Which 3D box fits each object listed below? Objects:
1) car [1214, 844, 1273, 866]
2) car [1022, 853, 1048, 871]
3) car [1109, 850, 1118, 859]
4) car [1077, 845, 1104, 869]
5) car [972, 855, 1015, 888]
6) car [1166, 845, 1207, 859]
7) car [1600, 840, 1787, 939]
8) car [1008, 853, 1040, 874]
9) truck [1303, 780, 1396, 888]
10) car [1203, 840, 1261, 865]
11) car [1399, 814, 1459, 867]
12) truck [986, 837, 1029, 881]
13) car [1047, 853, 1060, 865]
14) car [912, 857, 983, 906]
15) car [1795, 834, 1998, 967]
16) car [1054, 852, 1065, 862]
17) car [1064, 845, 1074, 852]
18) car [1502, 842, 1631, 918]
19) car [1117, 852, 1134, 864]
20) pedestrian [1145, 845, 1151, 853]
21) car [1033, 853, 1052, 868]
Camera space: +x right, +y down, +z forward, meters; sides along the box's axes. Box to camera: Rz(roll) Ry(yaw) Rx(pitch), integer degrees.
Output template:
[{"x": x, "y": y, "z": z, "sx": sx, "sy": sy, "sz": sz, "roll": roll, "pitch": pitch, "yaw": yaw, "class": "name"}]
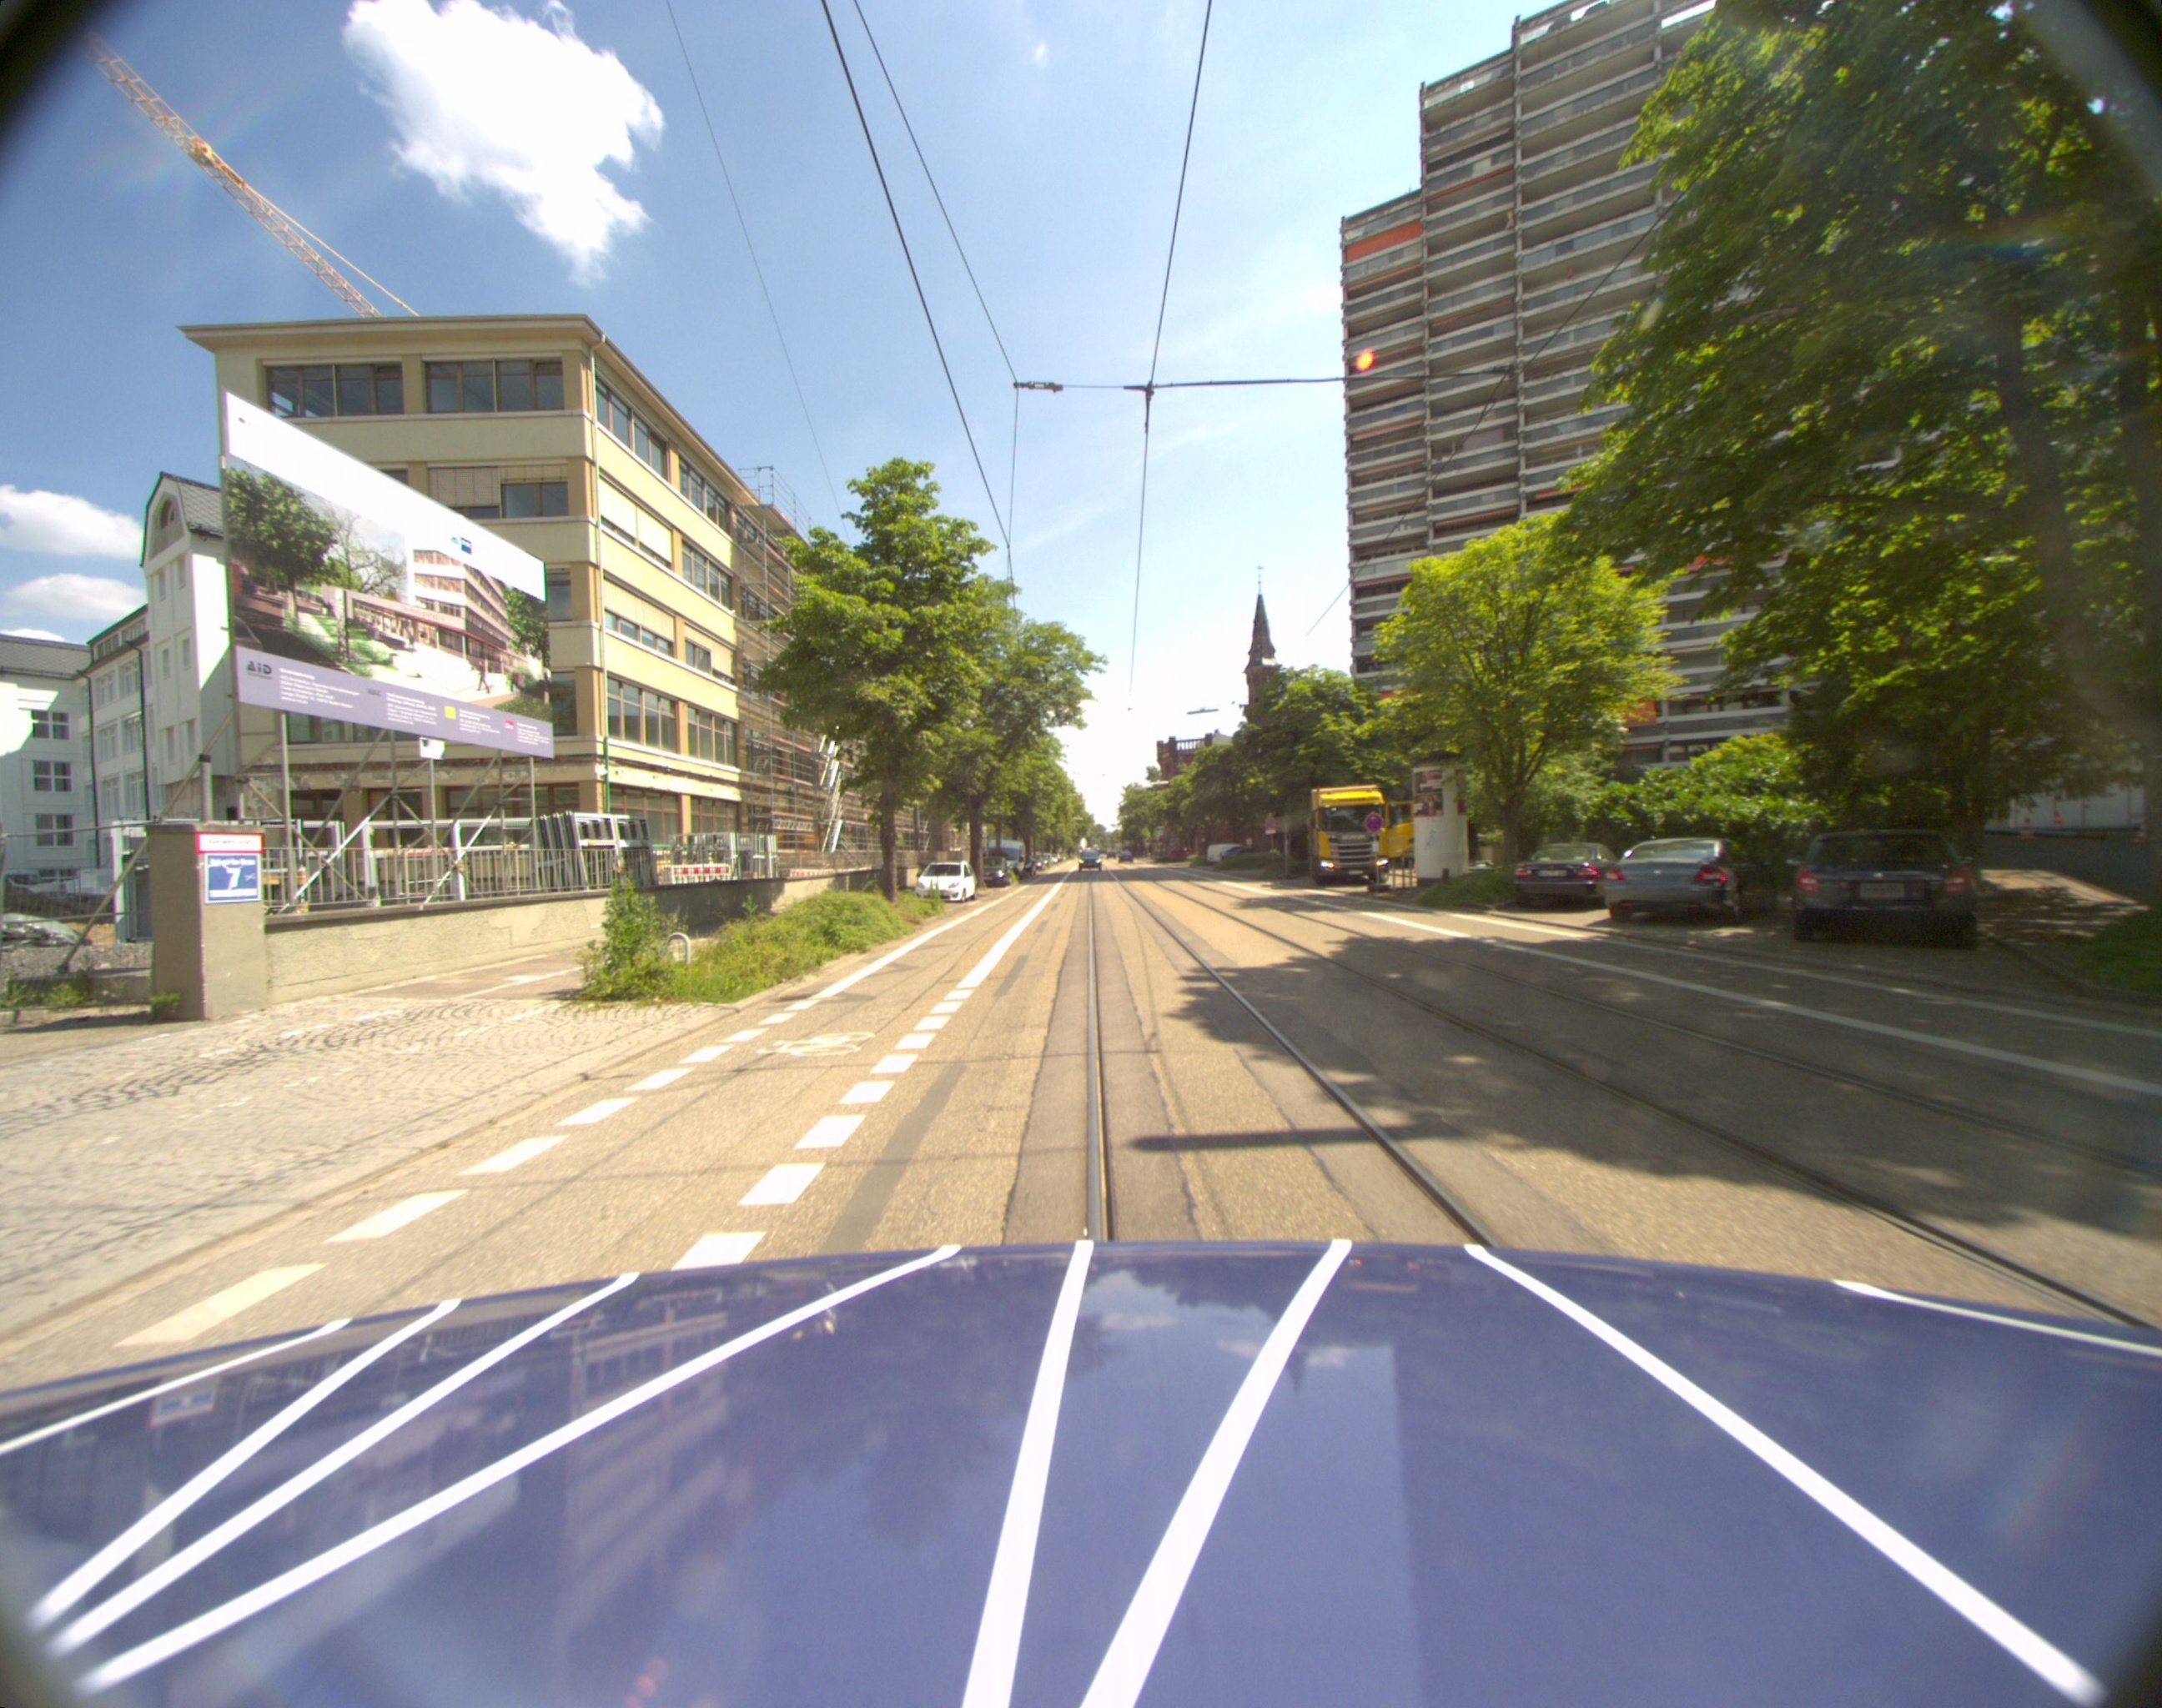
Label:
[{"x": 12.016, "y": 0.067, "z": 56.015, "sx": 4.455, "sy": 1.386, "sz": 1.768, "roll": -3, "pitch": 0, "yaw": -38, "class": "car"}, {"x": -4.089, "y": 0.669, "z": 68.164, "sx": 1.829, "sy": 1.463, "sz": 4.486, "roll": -2, "pitch": 0, "yaw": 2, "class": "car"}, {"x": 6.760, "y": 0.116, "z": 158.812, "sx": 1.835, "sy": 1.671, "sz": 4.184, "roll": -2, "pitch": 0, "yaw": 1, "class": "car"}, {"x": 0.730, "y": 0.246, "z": 60.192, "sx": 1.998, "sy": 1.731, "sz": 4.227, "roll": -3, "pitch": 0, "yaw": 0, "class": "car"}, {"x": -4.408, "y": 0.860, "z": 38.821, "sx": 1.648, "sy": 1.525, "sz": 3.946, "roll": -2, "pitch": 0, "yaw": 0, "class": "car"}, {"x": 13.252, "y": -0.246, "z": 95.420, "sx": 4.786, "sy": 1.557, "sz": 1.997, "roll": -3, "pitch": 1, "yaw": -28, "class": "car"}, {"x": 11.106, "y": 0.524, "z": 13.681, "sx": 4.212, "sy": 1.498, "sz": 1.869, "roll": -1, "pitch": 1, "yaw": -40, "class": "car"}, {"x": -4.257, "y": 0.681, "z": 57.554, "sx": 1.828, "sy": 1.463, "sz": 4.401, "roll": -2, "pitch": 0, "yaw": 3, "class": "car"}, {"x": 11.374, "y": -0.861, "z": 33.147, "sx": 2.719, "sy": 3.820, "sz": 10.973, "roll": -3, "pitch": 1, "yaw": 15, "class": "truck"}, {"x": 12.484, "y": -0.099, "z": 62.767, "sx": 4.555, "sy": 1.781, "sz": 1.896, "roll": -3, "pitch": 0, "yaw": -32, "class": "car"}, {"x": 18.924, "y": -0.801, "z": 41.152, "sx": 2.179, "sy": 2.551, "sz": 6.735, "roll": -2, "pitch": 2, "yaw": 31, "class": "car"}, {"x": -4.435, "y": 0.288, "z": 46.729, "sx": 2.019, "sy": 2.474, "sz": 5.955, "roll": -2, "pitch": 0, "yaw": 0, "class": "truck"}, {"x": -3.675, "y": 0.597, "z": 100.974, "sx": 1.676, "sy": 1.490, "sz": 4.364, "roll": -2, "pitch": 0, "yaw": -3, "class": "car"}, {"x": -4.628, "y": 0.922, "z": 26.867, "sx": 1.648, "sy": 1.525, "sz": 3.785, "roll": -2, "pitch": 0, "yaw": 2, "class": "car"}, {"x": 11.216, "y": 0.509, "z": 10.601, "sx": 3.717, "sy": 1.535, "sz": 1.687, "roll": -1, "pitch": 1, "yaw": -45, "class": "car"}, {"x": -3.408, "y": 0.439, "z": 121.250, "sx": 1.675, "sy": 1.481, "sz": 3.980, "roll": -2, "pitch": 0, "yaw": 0, "class": "car"}, {"x": -2.345, "y": -1.106, "z": 150.222, "sx": 1.756, "sy": 1.263, "sz": 3.833, "roll": -3, "pitch": 0, "yaw": 1, "class": "car"}, {"x": 10.960, "y": 0.495, "z": 17.057, "sx": 1.757, "sy": 1.498, "sz": 3.717, "roll": 0, "pitch": 1, "yaw": 44, "class": "car"}, {"x": 5.724, "y": 0.499, "z": 97.505, "sx": 1.779, "sy": 1.389, "sz": 4.286, "roll": -2, "pitch": 0, "yaw": -1, "class": "car"}, {"x": 13.116, "y": -0.937, "z": 148.764, "sx": 0.801, "sy": 1.579, "sz": 0.919, "roll": -5, "pitch": 0, "yaw": 0, "class": "pedestrian"}, {"x": -3.935, "y": 0.674, "z": 78.445, "sx": 1.675, "sy": 1.429, "sz": 4.041, "roll": -2, "pitch": 0, "yaw": 0, "class": "car"}]
